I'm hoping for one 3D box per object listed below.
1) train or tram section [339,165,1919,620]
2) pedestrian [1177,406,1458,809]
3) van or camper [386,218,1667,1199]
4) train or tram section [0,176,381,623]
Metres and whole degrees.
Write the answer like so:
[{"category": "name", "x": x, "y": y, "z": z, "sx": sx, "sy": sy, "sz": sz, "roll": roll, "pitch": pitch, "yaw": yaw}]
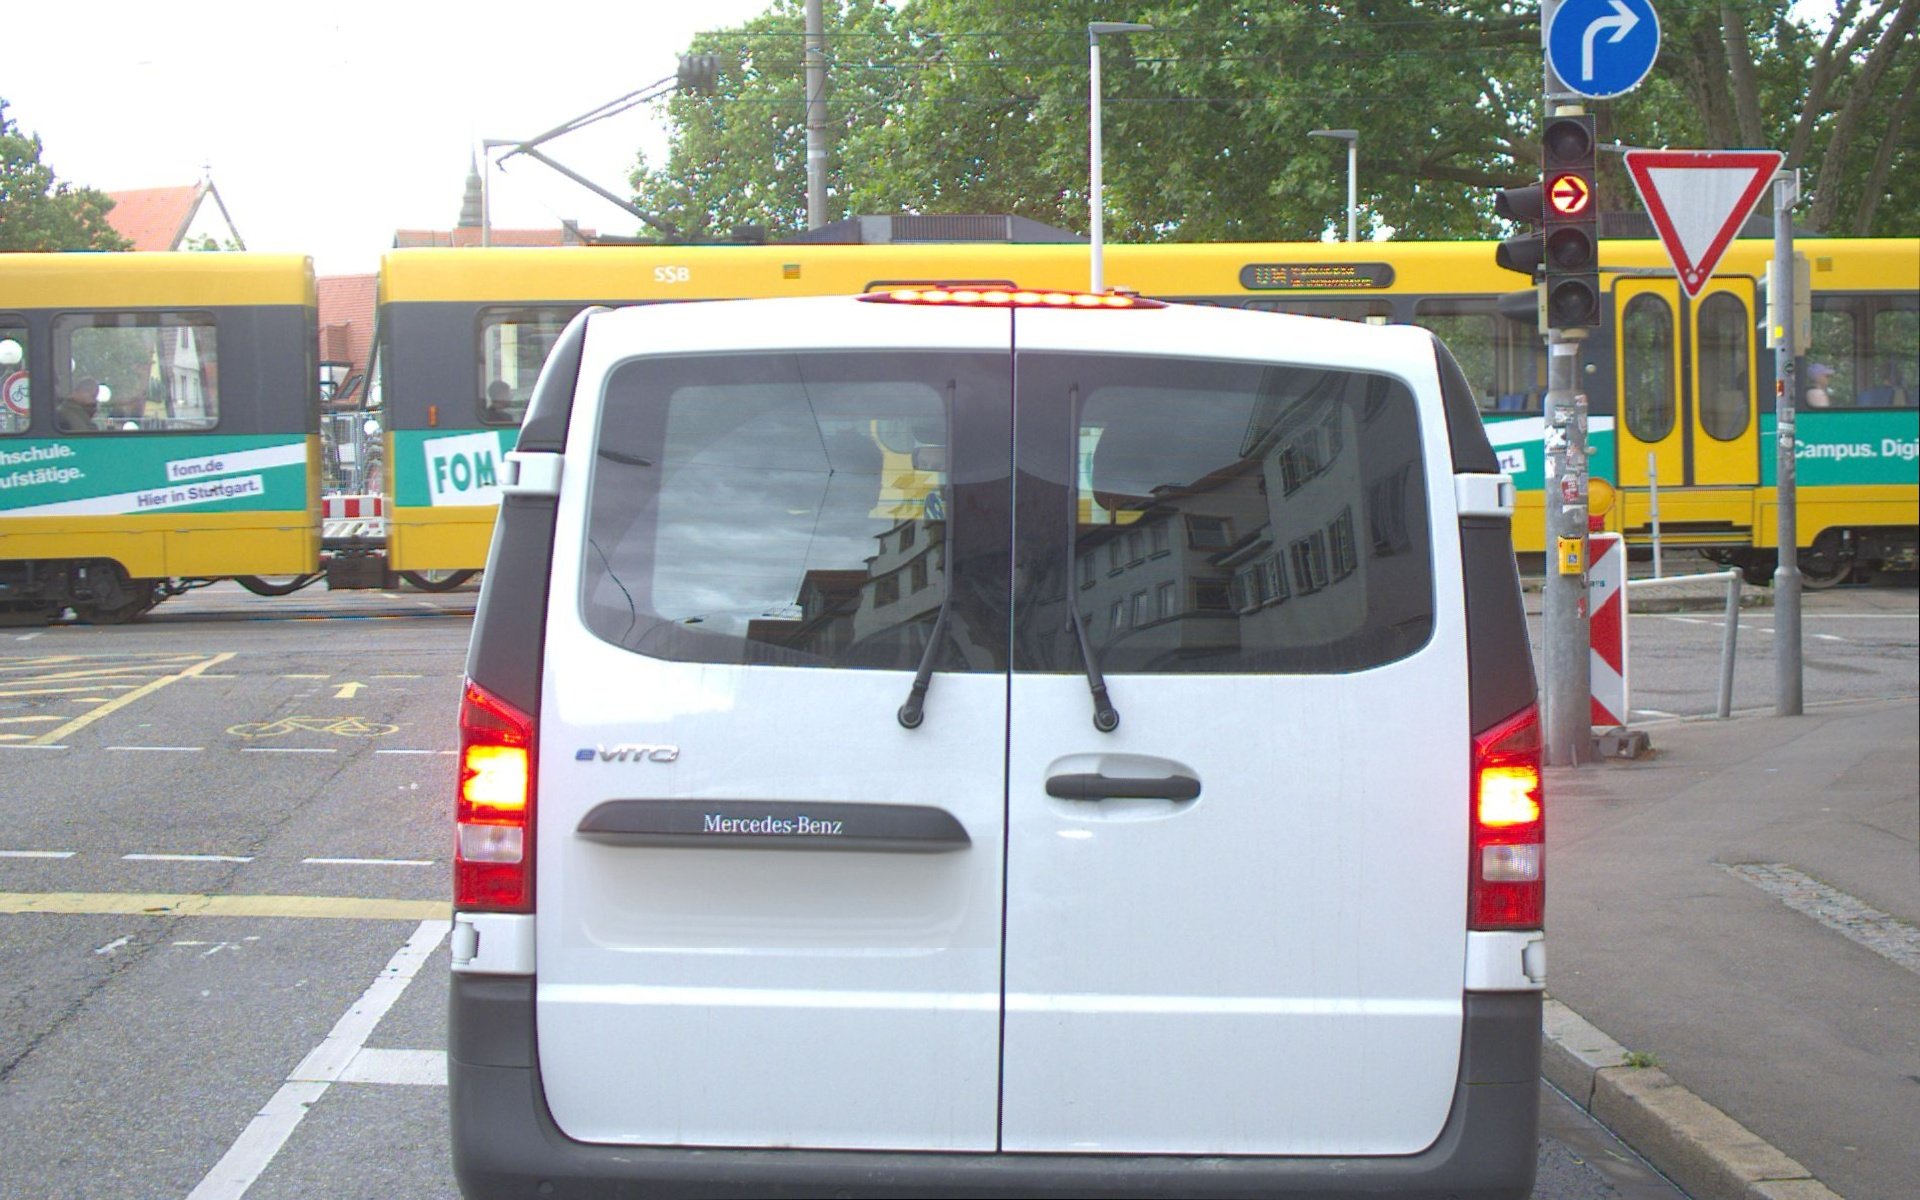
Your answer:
[{"category": "train or tram section", "x": 3.497, "y": -2.157, "z": 34.216, "sx": 18.766, "sy": 3.988, "sz": 3.267, "roll": -2, "pitch": 4, "yaw": -6}, {"category": "pedestrian", "x": 1.723, "y": 0.013, "z": 16.519, "sx": 1.150, "sy": 1.850, "sz": 0.679, "roll": -3, "pitch": 2, "yaw": -39}, {"category": "van or camper", "x": -0.008, "y": 0.330, "z": 7.471, "sx": 1.937, "sy": 1.918, "sz": 4.442, "roll": 1, "pitch": 2, "yaw": -3}, {"category": "train or tram section", "x": -15.146, "y": -1.672, "z": 31.463, "sx": 19.220, "sy": 3.988, "sz": 3.311, "roll": -2, "pitch": 4, "yaw": -11}]
